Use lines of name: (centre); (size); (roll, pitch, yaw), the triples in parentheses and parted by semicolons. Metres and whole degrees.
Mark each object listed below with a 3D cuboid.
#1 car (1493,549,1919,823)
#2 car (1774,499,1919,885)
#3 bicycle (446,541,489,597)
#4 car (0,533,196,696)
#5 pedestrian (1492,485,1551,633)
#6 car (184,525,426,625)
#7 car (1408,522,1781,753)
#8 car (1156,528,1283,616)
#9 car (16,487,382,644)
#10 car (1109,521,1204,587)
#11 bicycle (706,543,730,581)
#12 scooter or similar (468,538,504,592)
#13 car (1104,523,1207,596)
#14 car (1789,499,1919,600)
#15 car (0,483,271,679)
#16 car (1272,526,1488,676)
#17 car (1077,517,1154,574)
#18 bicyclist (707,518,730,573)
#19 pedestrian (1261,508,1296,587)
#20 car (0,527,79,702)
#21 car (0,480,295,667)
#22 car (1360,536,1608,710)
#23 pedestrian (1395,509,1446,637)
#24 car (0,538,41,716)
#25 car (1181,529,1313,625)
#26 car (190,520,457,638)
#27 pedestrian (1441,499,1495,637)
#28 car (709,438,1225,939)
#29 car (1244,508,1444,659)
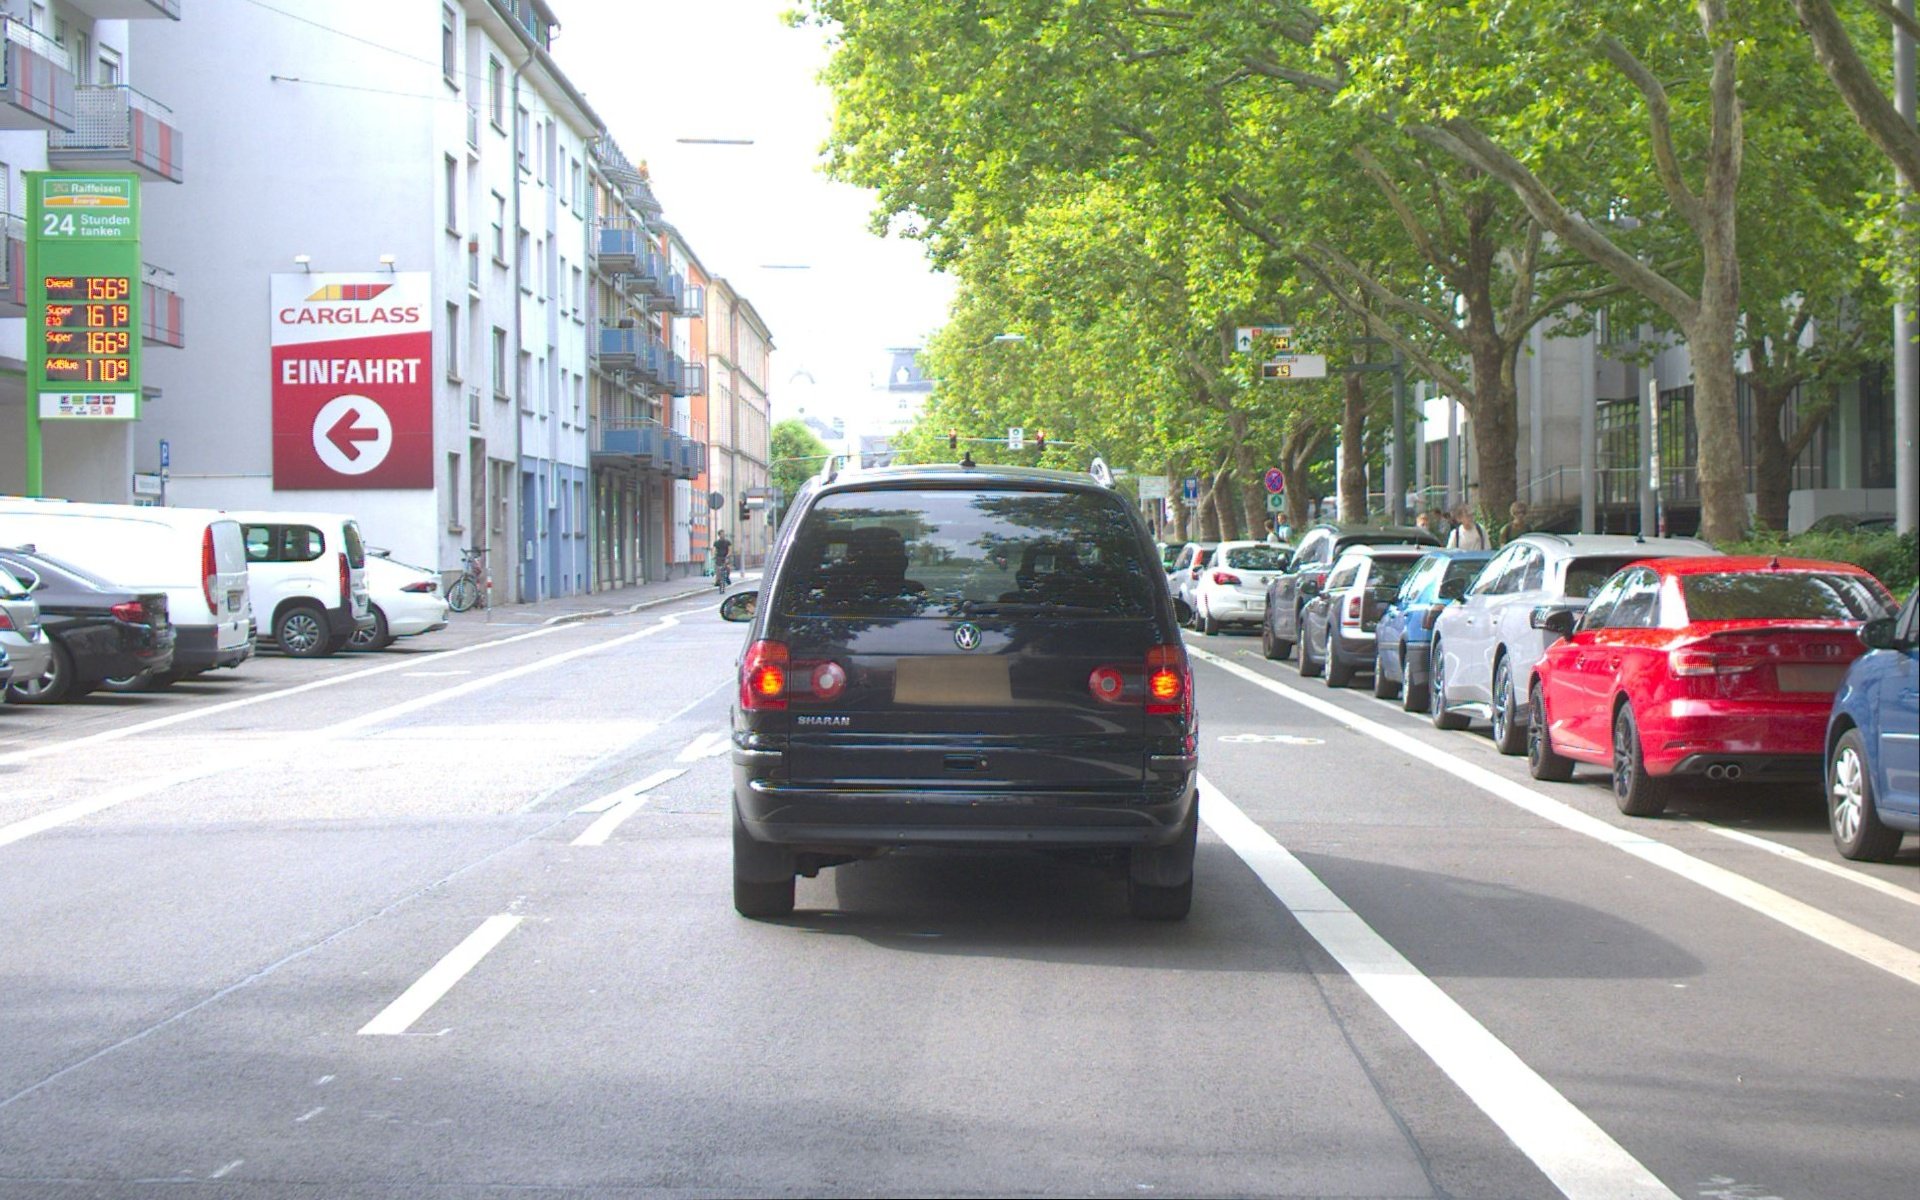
car: (4.324, 0.410, 19.944); (1.675, 1.389, 4.461); (0, 1, -1)
car: (4.946, 0.391, 14.862); (1.657, 1.645, 4.420); (-1, 2, -2)
bicycle: (-9.381, -0.601, 65.574); (0.631, 1.030, 2.015); (1, 1, -4)
car: (-9.274, 0.089, 32.537); (3.682, 1.439, 1.753); (2, 1, 0)
pedestrian: (7.564, -0.560, 46.340); (0.643, 1.968, 0.692); (1, 2, 1)
car: (-9.790, -0.377, 51.538); (3.342, 1.397, 1.504); (1, 1, -2)
car: (4.522, 0.216, 25.221); (1.727, 1.511, 4.872); (1, 1, -1)
car: (4.378, -0.498, 58.460); (1.641, 1.408, 3.417); (2, 1, -4)
car: (-9.780, -0.444, 44.424); (4.307, 1.863, 1.824); (2, 1, -1)
car: (4.264, -1.022, 75.056); (1.641, 1.390, 3.513); (0, 1, -4)
bicycle: (-7.232, -1.131, 102.818); (0.631, 1.030, 2.015); (1, -2, -3)
scooter or similar: (-9.399, -0.699, 68.175); (0.631, 1.030, 2.016); (0, 1, -6)
car: (3.947, -0.837, 69.868); (1.641, 1.408, 3.417); (2, 1, -4)
car: (14.246, -0.819, 53.953); (1.471, 1.453, 3.917); (1, 2, 0)
car: (-9.545, -0.243, 35.139); (4.526, 1.872, 2.047); (2, 1, 1)
car: (4.300, -0.026, 35.728); (1.630, 1.465, 4.318); (0, 1, -1)
car: (4.064, -1.448, 90.318); (1.641, 1.482, 3.513); (0, 1, -4)
bicyclist: (-7.241, -1.619, 102.942); (0.653, 1.606, 0.656); (1, -2, -3)
pedestrian: (7.387, -1.223, 79.709); (0.767, 1.825, 0.516); (0, 1, 1)
car: (-9.873, 0.061, 30.451); (3.682, 1.480, 1.753); (2, 1, -1)
car: (-9.949, -0.335, 37.635); (4.916, 1.897, 2.000); (2, 1, 0)
car: (4.599, 0.155, 30.673); (1.622, 1.381, 4.000); (2, 1, 1)
pedestrian: (6.215, -0.366, 46.442); (0.587, 1.696, 0.508); (1, 2, 1)
car: (-9.638, 0.168, 28.258); (3.682, 1.422, 1.753); (2, 1, -1)
car: (4.476, -0.388, 54.066); (1.675, 1.389, 4.461); (2, 1, 0)
car: (-8.620, -0.289, 46.732); (3.342, 1.491, 1.596); (1, 1, -2)
pedestrian: (6.866, -0.442, 46.487); (0.587, 1.832, 0.692); (1, 2, 1)
car: (-0.010, 0.289, 14.030); (1.812, 1.760, 3.738); (0, 1, -1)
car: (4.501, -0.229, 40.902); (1.668, 1.635, 4.504); (2, 1, -2)
